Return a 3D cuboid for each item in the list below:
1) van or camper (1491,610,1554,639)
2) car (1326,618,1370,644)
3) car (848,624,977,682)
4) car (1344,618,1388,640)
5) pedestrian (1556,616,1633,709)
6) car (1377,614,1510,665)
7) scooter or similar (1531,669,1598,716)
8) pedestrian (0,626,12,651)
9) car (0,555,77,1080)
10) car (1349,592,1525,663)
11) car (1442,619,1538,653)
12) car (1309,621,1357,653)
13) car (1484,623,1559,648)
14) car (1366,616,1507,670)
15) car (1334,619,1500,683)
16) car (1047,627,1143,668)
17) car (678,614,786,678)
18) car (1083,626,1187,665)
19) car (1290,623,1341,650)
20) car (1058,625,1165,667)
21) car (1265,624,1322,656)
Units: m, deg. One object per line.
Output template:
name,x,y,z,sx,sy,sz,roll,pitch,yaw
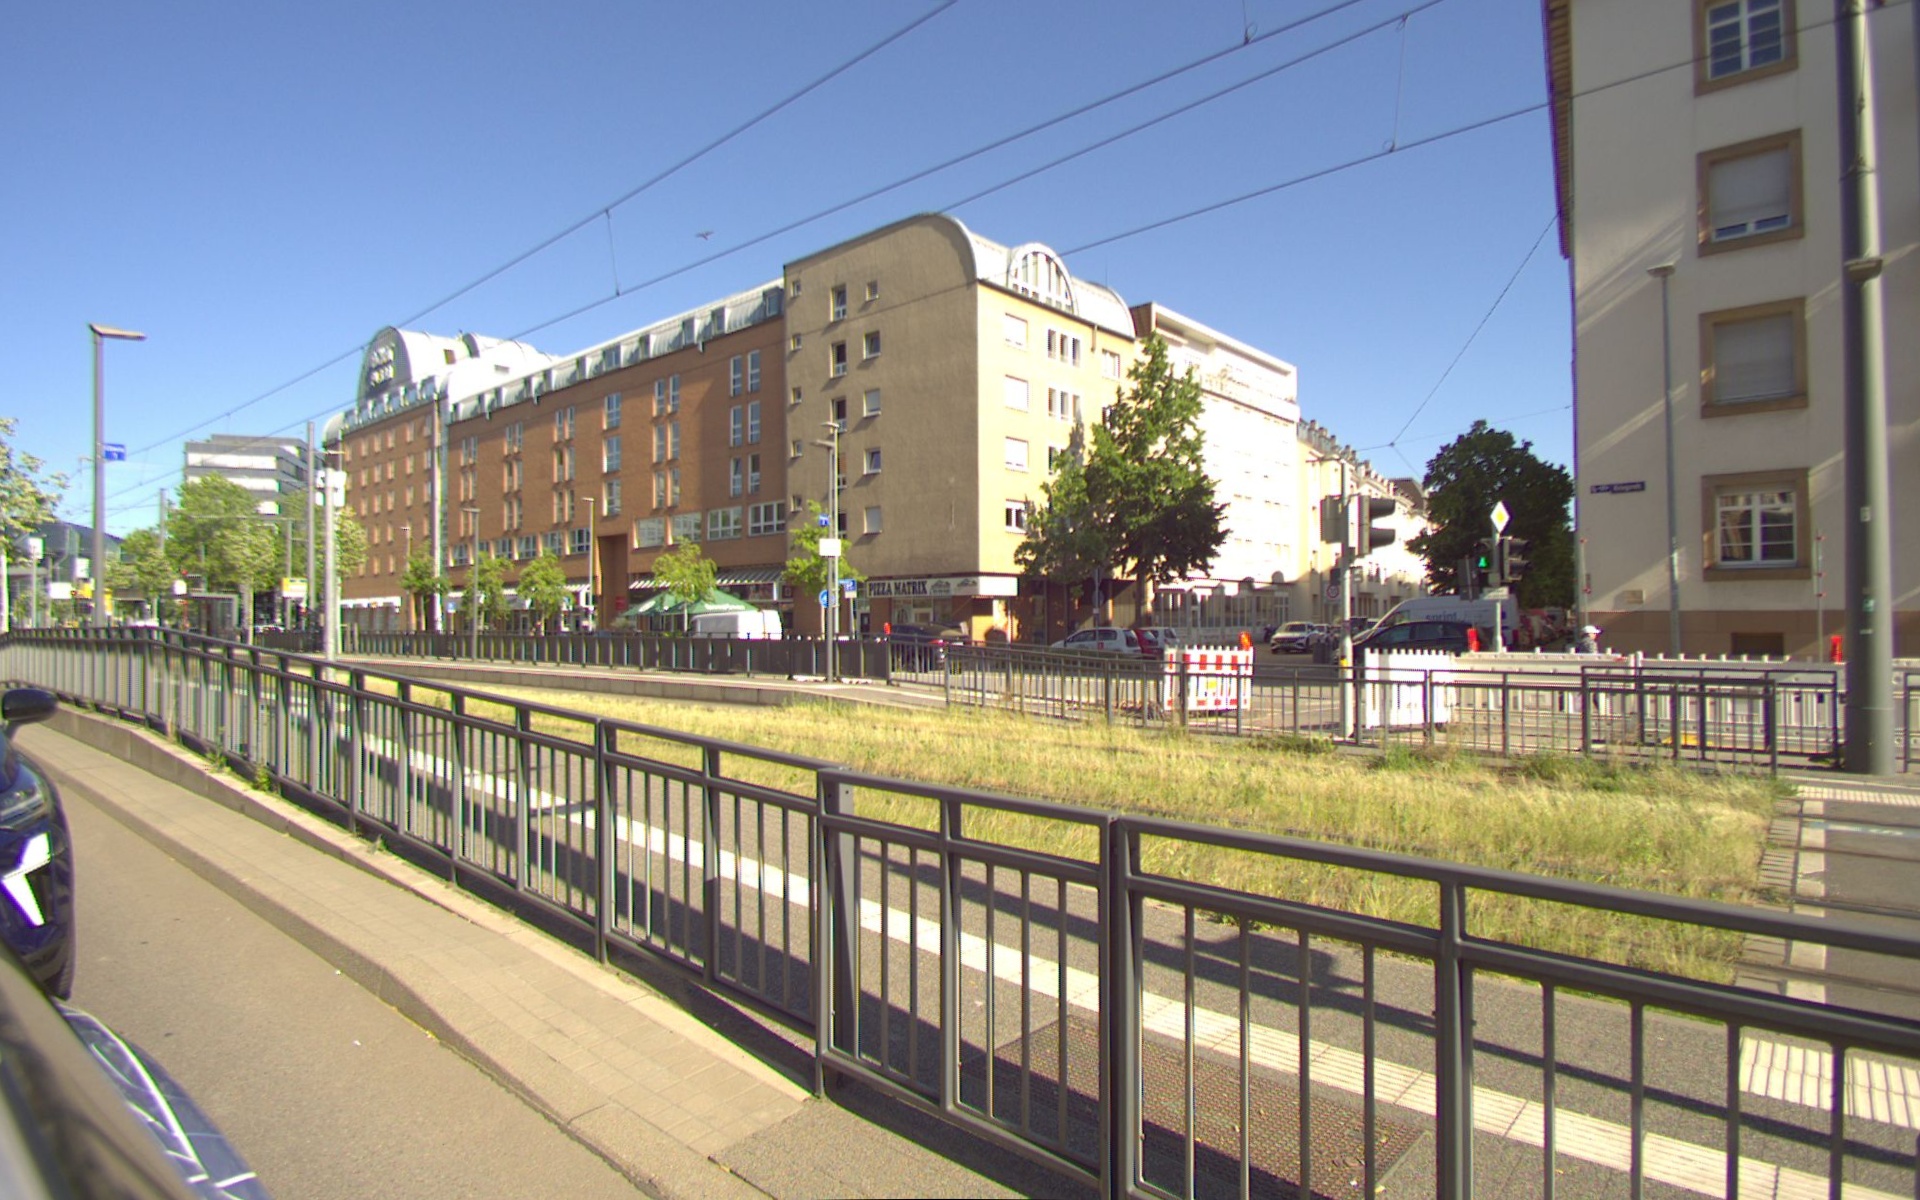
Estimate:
van or camper,44.863,1.911,80.769,4.332,2.231,1.931,-1,0,32
car,25.295,2.013,65.866,1.993,1.630,4.141,-1,-2,31
car,-1.558,1.627,32.085,3.996,1.652,1.677,-1,0,39
car,28.281,2.044,70.436,1.995,1.473,4.137,-1,-2,34
pedestrian,10.642,1.027,16.979,0.792,1.515,0.713,0,-2,-18
car,16.827,1.348,35.271,3.989,1.652,1.848,-1,0,33
scooter or similar,10.000,1.523,16.751,0.597,0.725,0.713,0,-2,-18
pedestrian,-72.652,2.912,76.847,0.597,1.903,0.737,-1,-2,18
car,-5.053,0.735,4.007,4.418,1.597,1.736,-2,1,41
car,17.648,0.978,37.582,5.737,2.473,1.979,-1,0,32
car,25.752,1.729,49.192,3.988,1.567,1.848,-1,0,33
car,22.799,2.228,61.819,1.839,1.730,4.033,-1,0,34
car,34.986,2.187,63.070,3.986,1.440,1.760,-1,0,32
car,15.701,1.363,33.383,3.989,1.652,1.848,-1,0,33
car,12.973,1.400,28.819,3.994,1.652,1.846,-1,0,37
car,5.095,1.781,38.354,3.334,1.438,1.424,-1,0,29
car,-9.087,1.754,40.007,1.969,2.314,5.197,-1,0,-41
car,7.335,1.876,42.596,3.997,1.497,1.693,-1,0,40
car,20.517,2.092,58.291,1.993,1.457,4.141,-1,-2,31
car,6.026,1.796,40.378,3.955,1.564,1.457,-1,0,33
car,17.737,2.106,53.711,1.993,1.630,4.141,-1,-2,31
